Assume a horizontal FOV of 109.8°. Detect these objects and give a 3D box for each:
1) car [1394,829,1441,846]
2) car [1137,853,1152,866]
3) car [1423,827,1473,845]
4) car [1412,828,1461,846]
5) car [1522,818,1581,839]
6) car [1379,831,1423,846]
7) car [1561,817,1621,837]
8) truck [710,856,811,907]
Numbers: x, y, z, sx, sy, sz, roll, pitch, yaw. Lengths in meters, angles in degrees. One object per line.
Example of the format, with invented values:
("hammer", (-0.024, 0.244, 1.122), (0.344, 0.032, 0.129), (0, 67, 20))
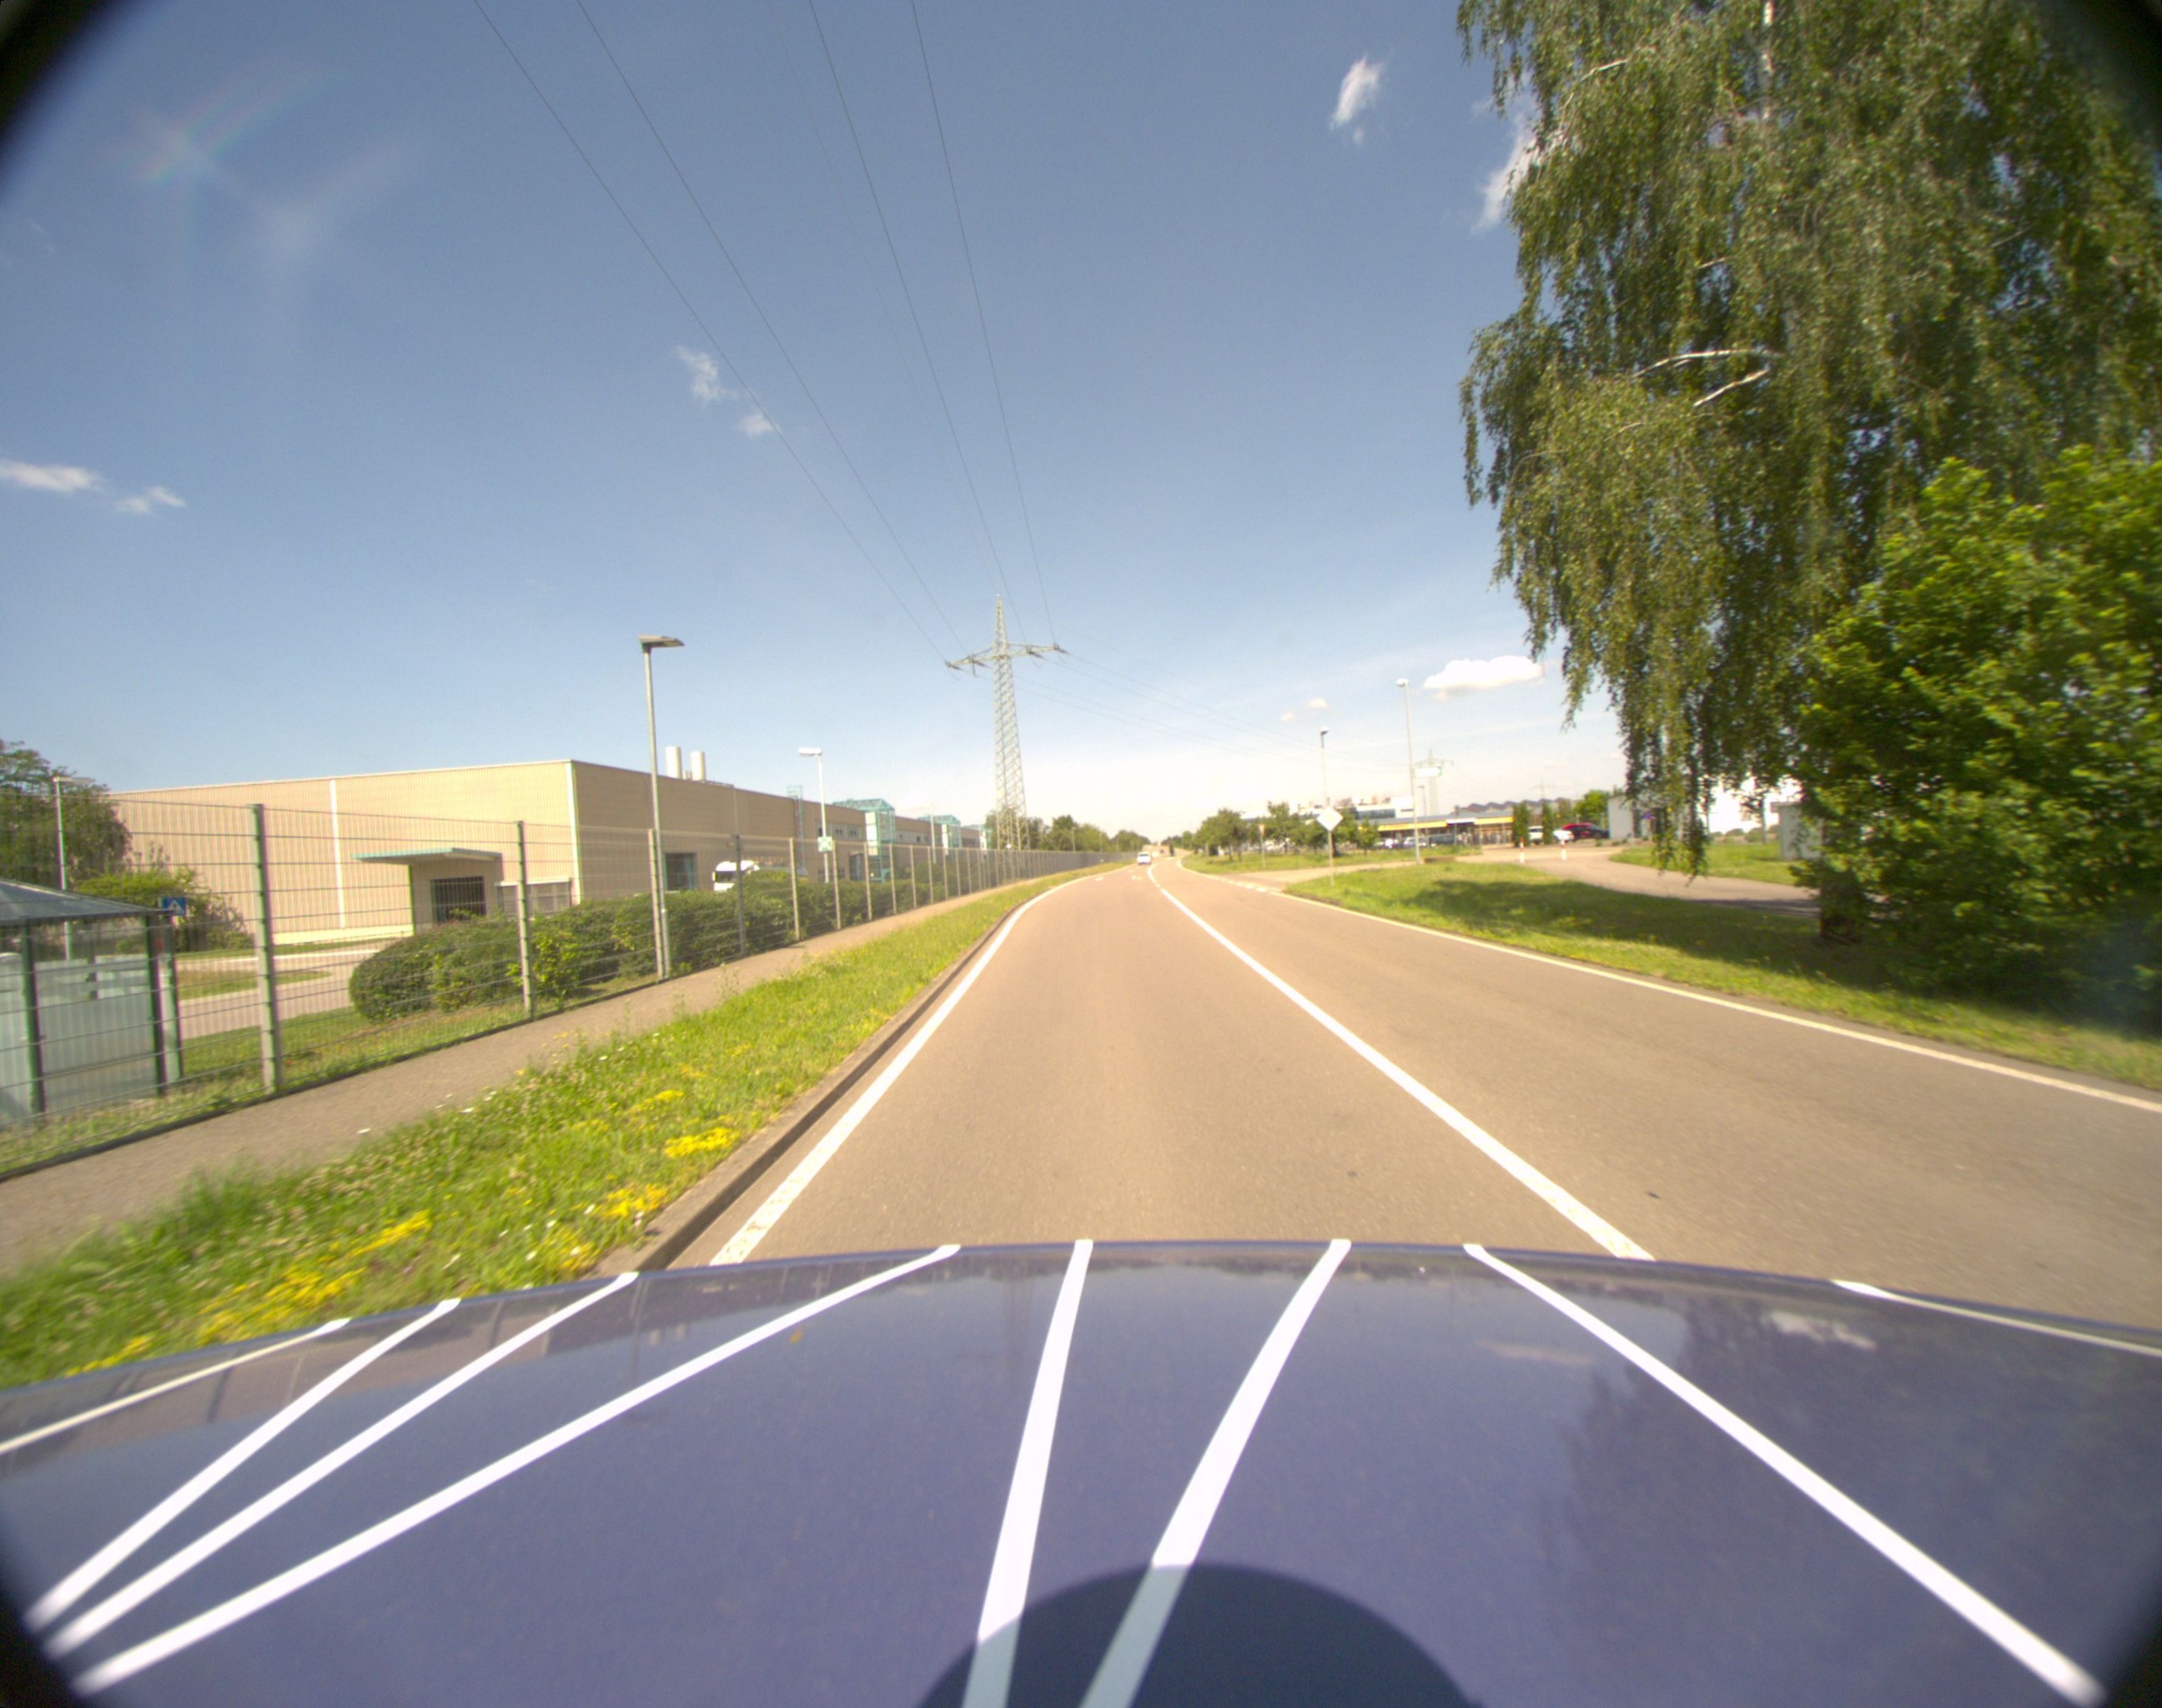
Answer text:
("car", (36.457, -1.801, 82.318), (4.220, 1.634, 1.871), (-2, 1, 1))
("car", (9.447, 0.837, 112.434), (1.835, 1.796, 4.833), (-2, 0, 9))
("car", (37.291, -1.789, 77.256), (4.220, 1.634, 1.871), (-2, 1, 1))
("car", (37.181, -1.796, 79.542), (4.220, 1.655, 1.871), (-2, 1, 1))
("car", (42.008, -2.242, 67.903), (2.002, 1.641, 3.993), (-3, 1, -22))
("car", (36.844, -1.762, 87.621), (4.220, 1.591, 1.871), (-2, 1, 1))
("car", (45.508, -2.426, 67.882), (2.003, 1.576, 3.991), (-3, 1, -31))
("truck", (-26.883, 2.131, 64.633), (2.863, 3.720, 11.678), (-2, 1, 3))
